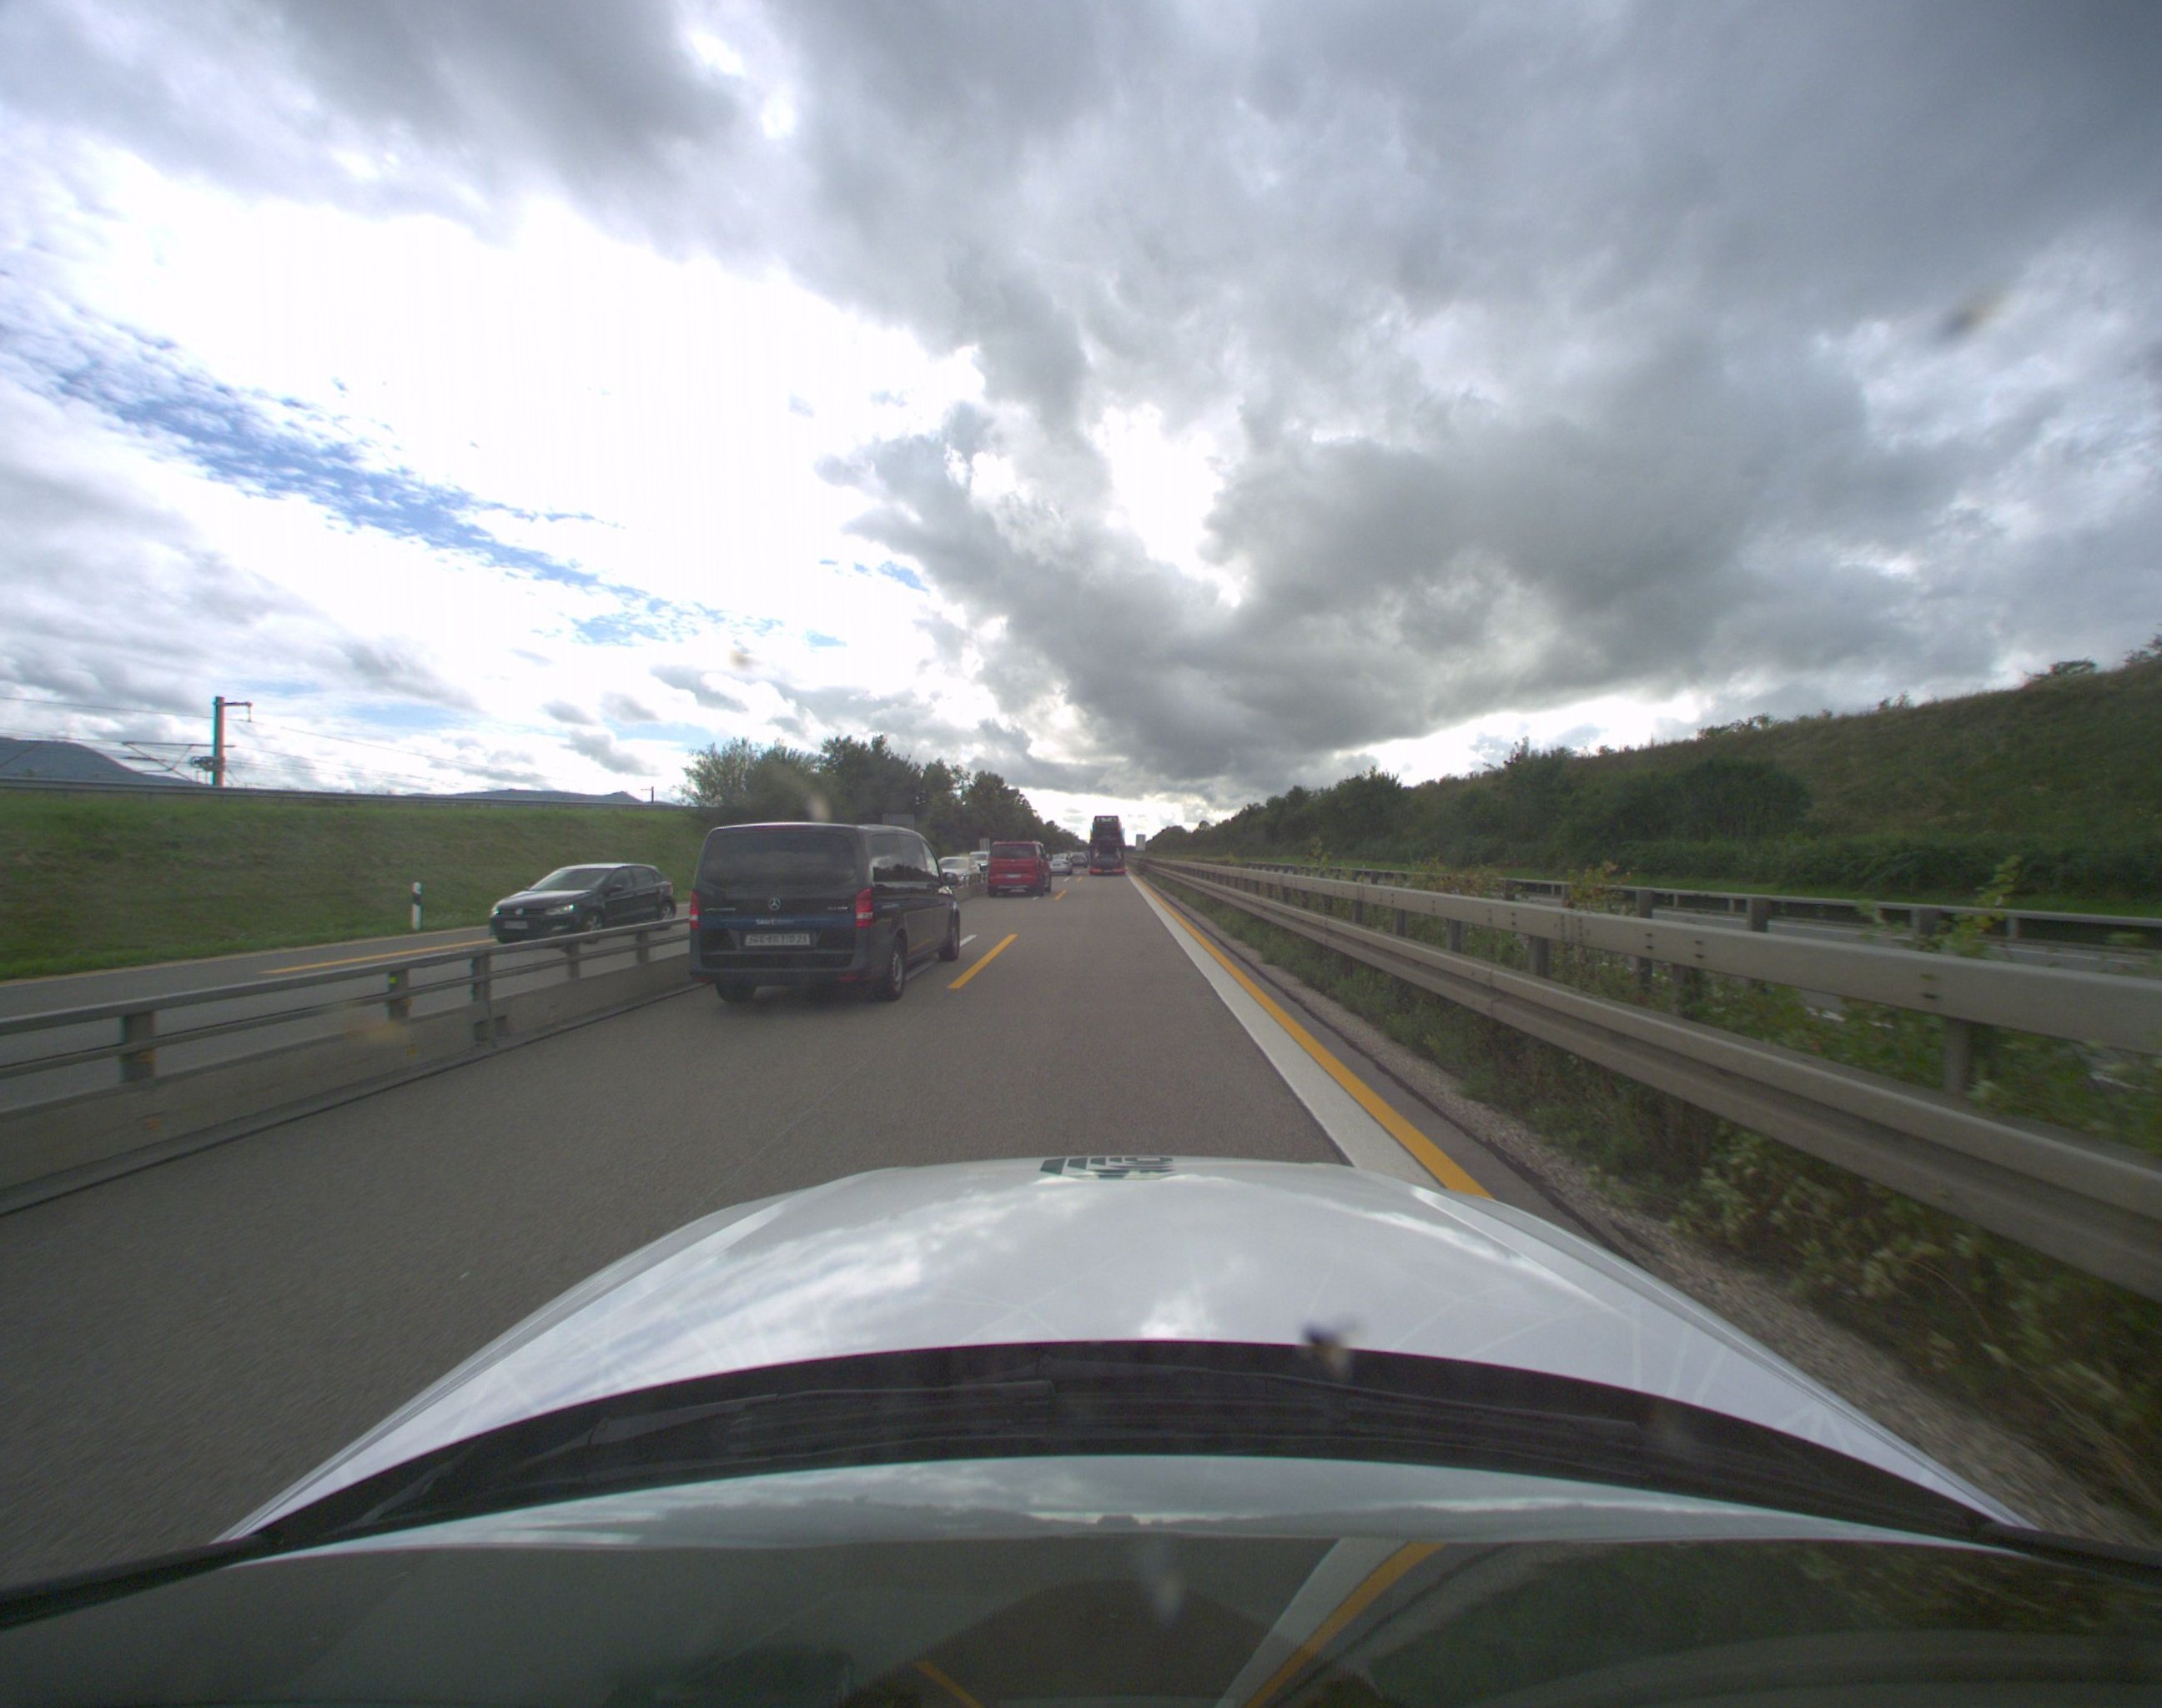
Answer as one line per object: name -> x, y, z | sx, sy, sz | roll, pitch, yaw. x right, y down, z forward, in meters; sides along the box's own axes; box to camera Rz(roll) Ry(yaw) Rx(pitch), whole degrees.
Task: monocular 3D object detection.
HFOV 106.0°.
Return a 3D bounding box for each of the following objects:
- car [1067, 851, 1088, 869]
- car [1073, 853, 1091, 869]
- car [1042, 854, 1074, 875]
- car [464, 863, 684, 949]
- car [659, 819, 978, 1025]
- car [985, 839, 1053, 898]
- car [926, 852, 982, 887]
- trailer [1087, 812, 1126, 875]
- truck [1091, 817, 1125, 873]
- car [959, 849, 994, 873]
car -> -0.312, 0.563, 82.693 | 2.024, 1.757, 4.579 | -1, 0, 1
car -> 0.156, 0.791, 95.061 | 2.024, 1.757, 4.578 | -1, 0, 1
car -> -1.561, 0.704, 57.608 | 2.024, 1.430, 4.579 | -1, 0, 1
car -> -9.545, 0.896, 15.770 | 1.751, 1.388, 4.000 | 0, 0, 0
car -> -2.769, 0.629, 10.276 | 1.986, 1.843, 5.612 | -1, 0, 2
car -> -2.225, 0.494, 30.424 | 2.023, 2.013, 4.580 | -1, 0, 2
car -> -5.452, 0.630, 35.368 | 1.751, 1.388, 4.326 | 0, 0, 0
trailer -> 1.926, -0.671, 58.642 | 2.505, 4.105, 11.120 | -1, 0, 3
truck -> 2.146, -0.656, 63.400 | 2.505, 4.105, 5.689 | -1, 0, 2
car -> -8.231, 0.531, 64.606 | 1.986, 1.791, 4.935 | -1, 0, 1
